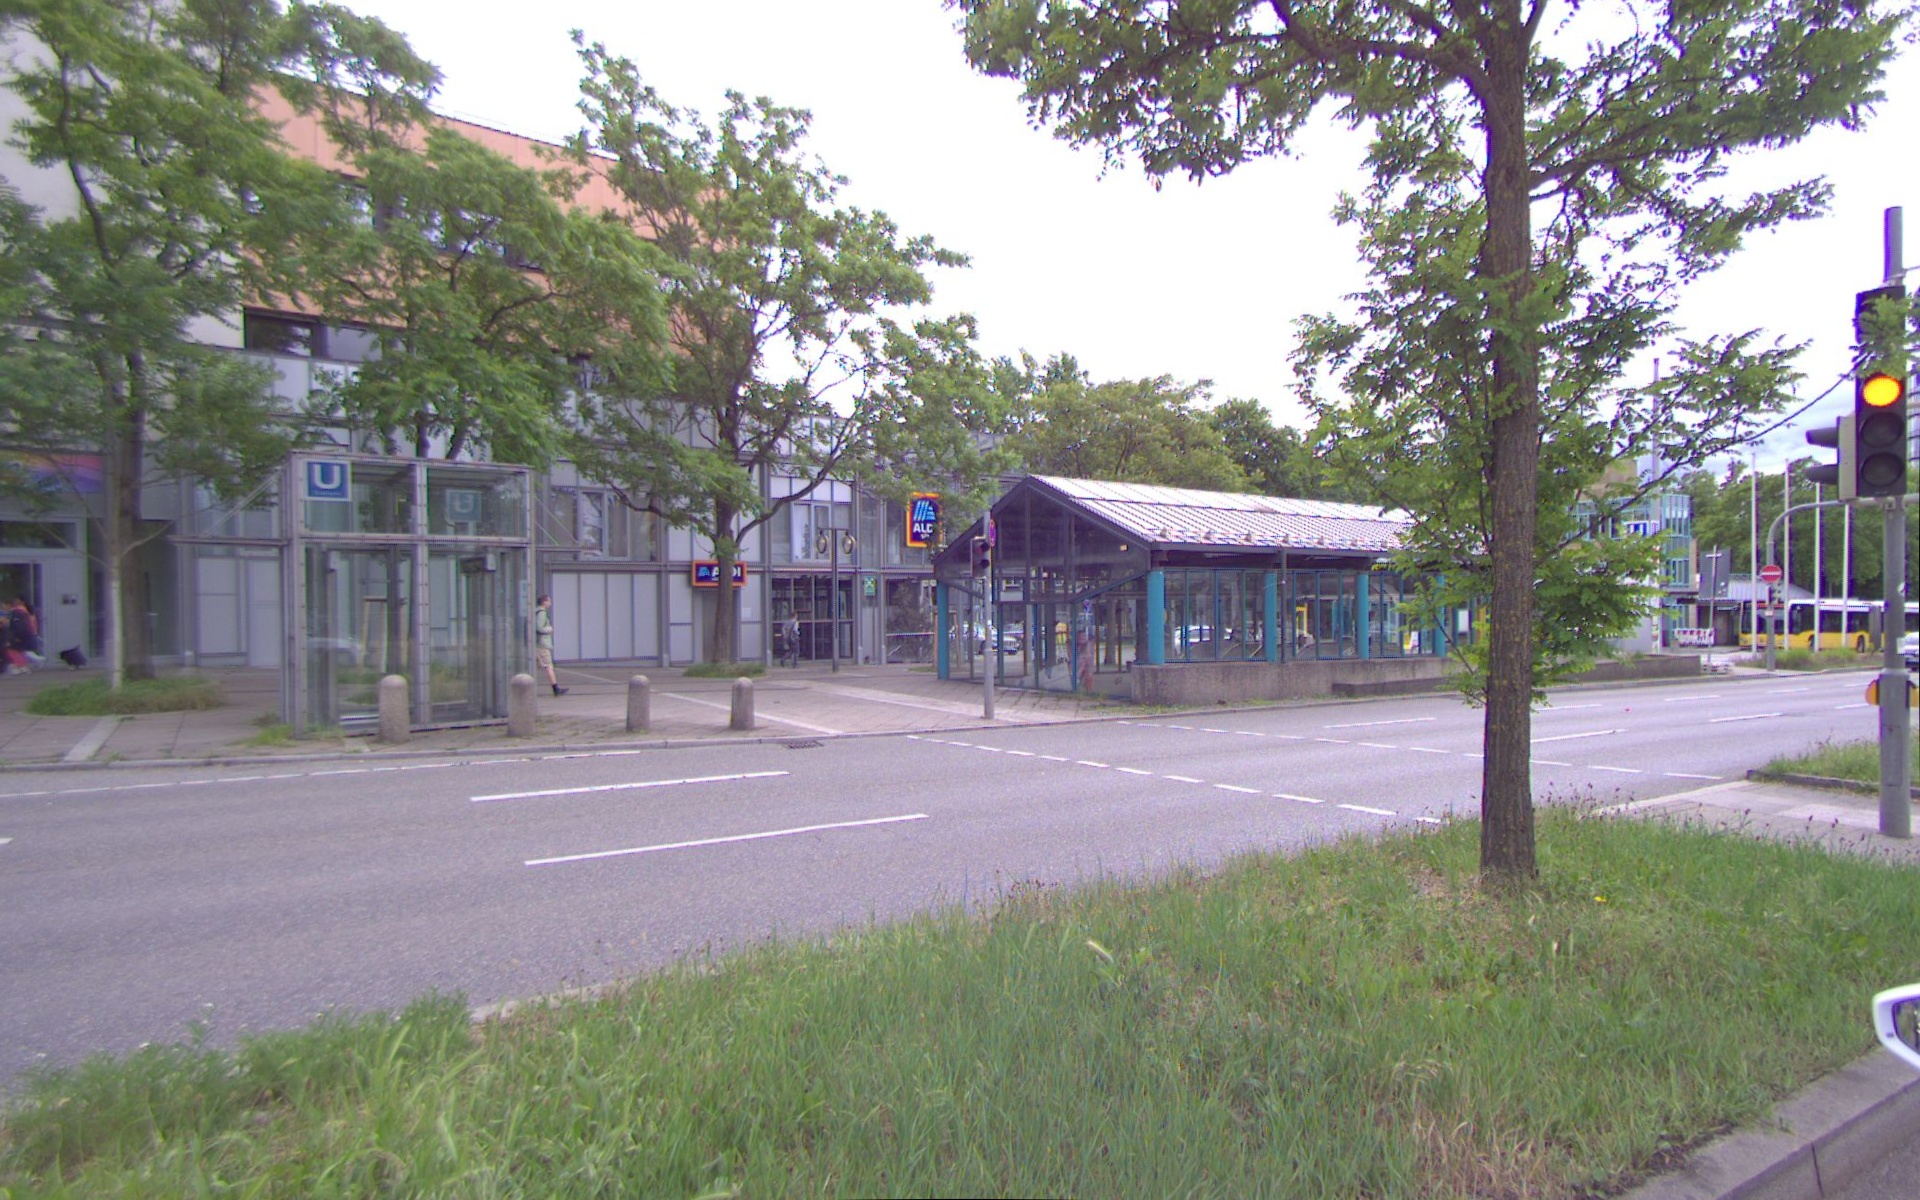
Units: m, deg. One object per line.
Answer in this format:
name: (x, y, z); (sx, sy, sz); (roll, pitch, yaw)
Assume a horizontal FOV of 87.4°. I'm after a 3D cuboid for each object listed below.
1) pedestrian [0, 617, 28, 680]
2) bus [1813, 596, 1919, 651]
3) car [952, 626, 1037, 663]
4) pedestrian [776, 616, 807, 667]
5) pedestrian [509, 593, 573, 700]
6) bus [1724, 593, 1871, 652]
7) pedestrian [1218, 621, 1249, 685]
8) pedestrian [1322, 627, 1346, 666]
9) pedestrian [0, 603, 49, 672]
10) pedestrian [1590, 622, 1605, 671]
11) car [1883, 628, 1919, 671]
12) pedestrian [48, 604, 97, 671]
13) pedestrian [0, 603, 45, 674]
pedestrian: (-18.110, 0.915, 19.028); (0.617, 1.197, 0.417); (1, -1, -40)
bus: (57.937, 1.535, 63.771); (7.771, 3.313, 2.980); (1, -1, -26)
car: (1.667, 2.194, 50.383); (1.769, 1.710, 4.838); (1, -1, -33)
pedestrian: (-5.073, 1.241, 30.267); (0.748, 1.499, 0.525); (1, -1, -36)
pedestrian: (-7.541, 0.827, 18.099); (0.530, 1.857, 0.916); (0, -1, 44)
bus: (49.940, 1.375, 59.830); (10.036, 3.293, 2.980); (1, -1, -26)
pedestrian: (7.841, 1.507, 28.794); (0.750, 1.786, 0.524); (1, -1, -40)
pedestrian: (15.289, 1.894, 41.041); (0.655, 1.591, 0.630); (2, 0, -37)
pedestrian: (-19.330, 0.761, 20.740); (0.689, 1.393, 0.578); (1, -1, -37)
pedestrian: (20.988, 1.524, 33.071); (0.412, 1.612, 0.356); (0, -1, 31)
car: (37.565, 1.911, 39.170); (3.316, 1.599, 1.673); (1, -1, -36)
pedestrian: (-18.633, 0.784, 21.106); (0.689, 1.393, 0.578); (1, -1, -37)
pedestrian: (-18.889, 0.772, 20.165); (0.689, 1.393, 0.578); (1, -1, -37)
